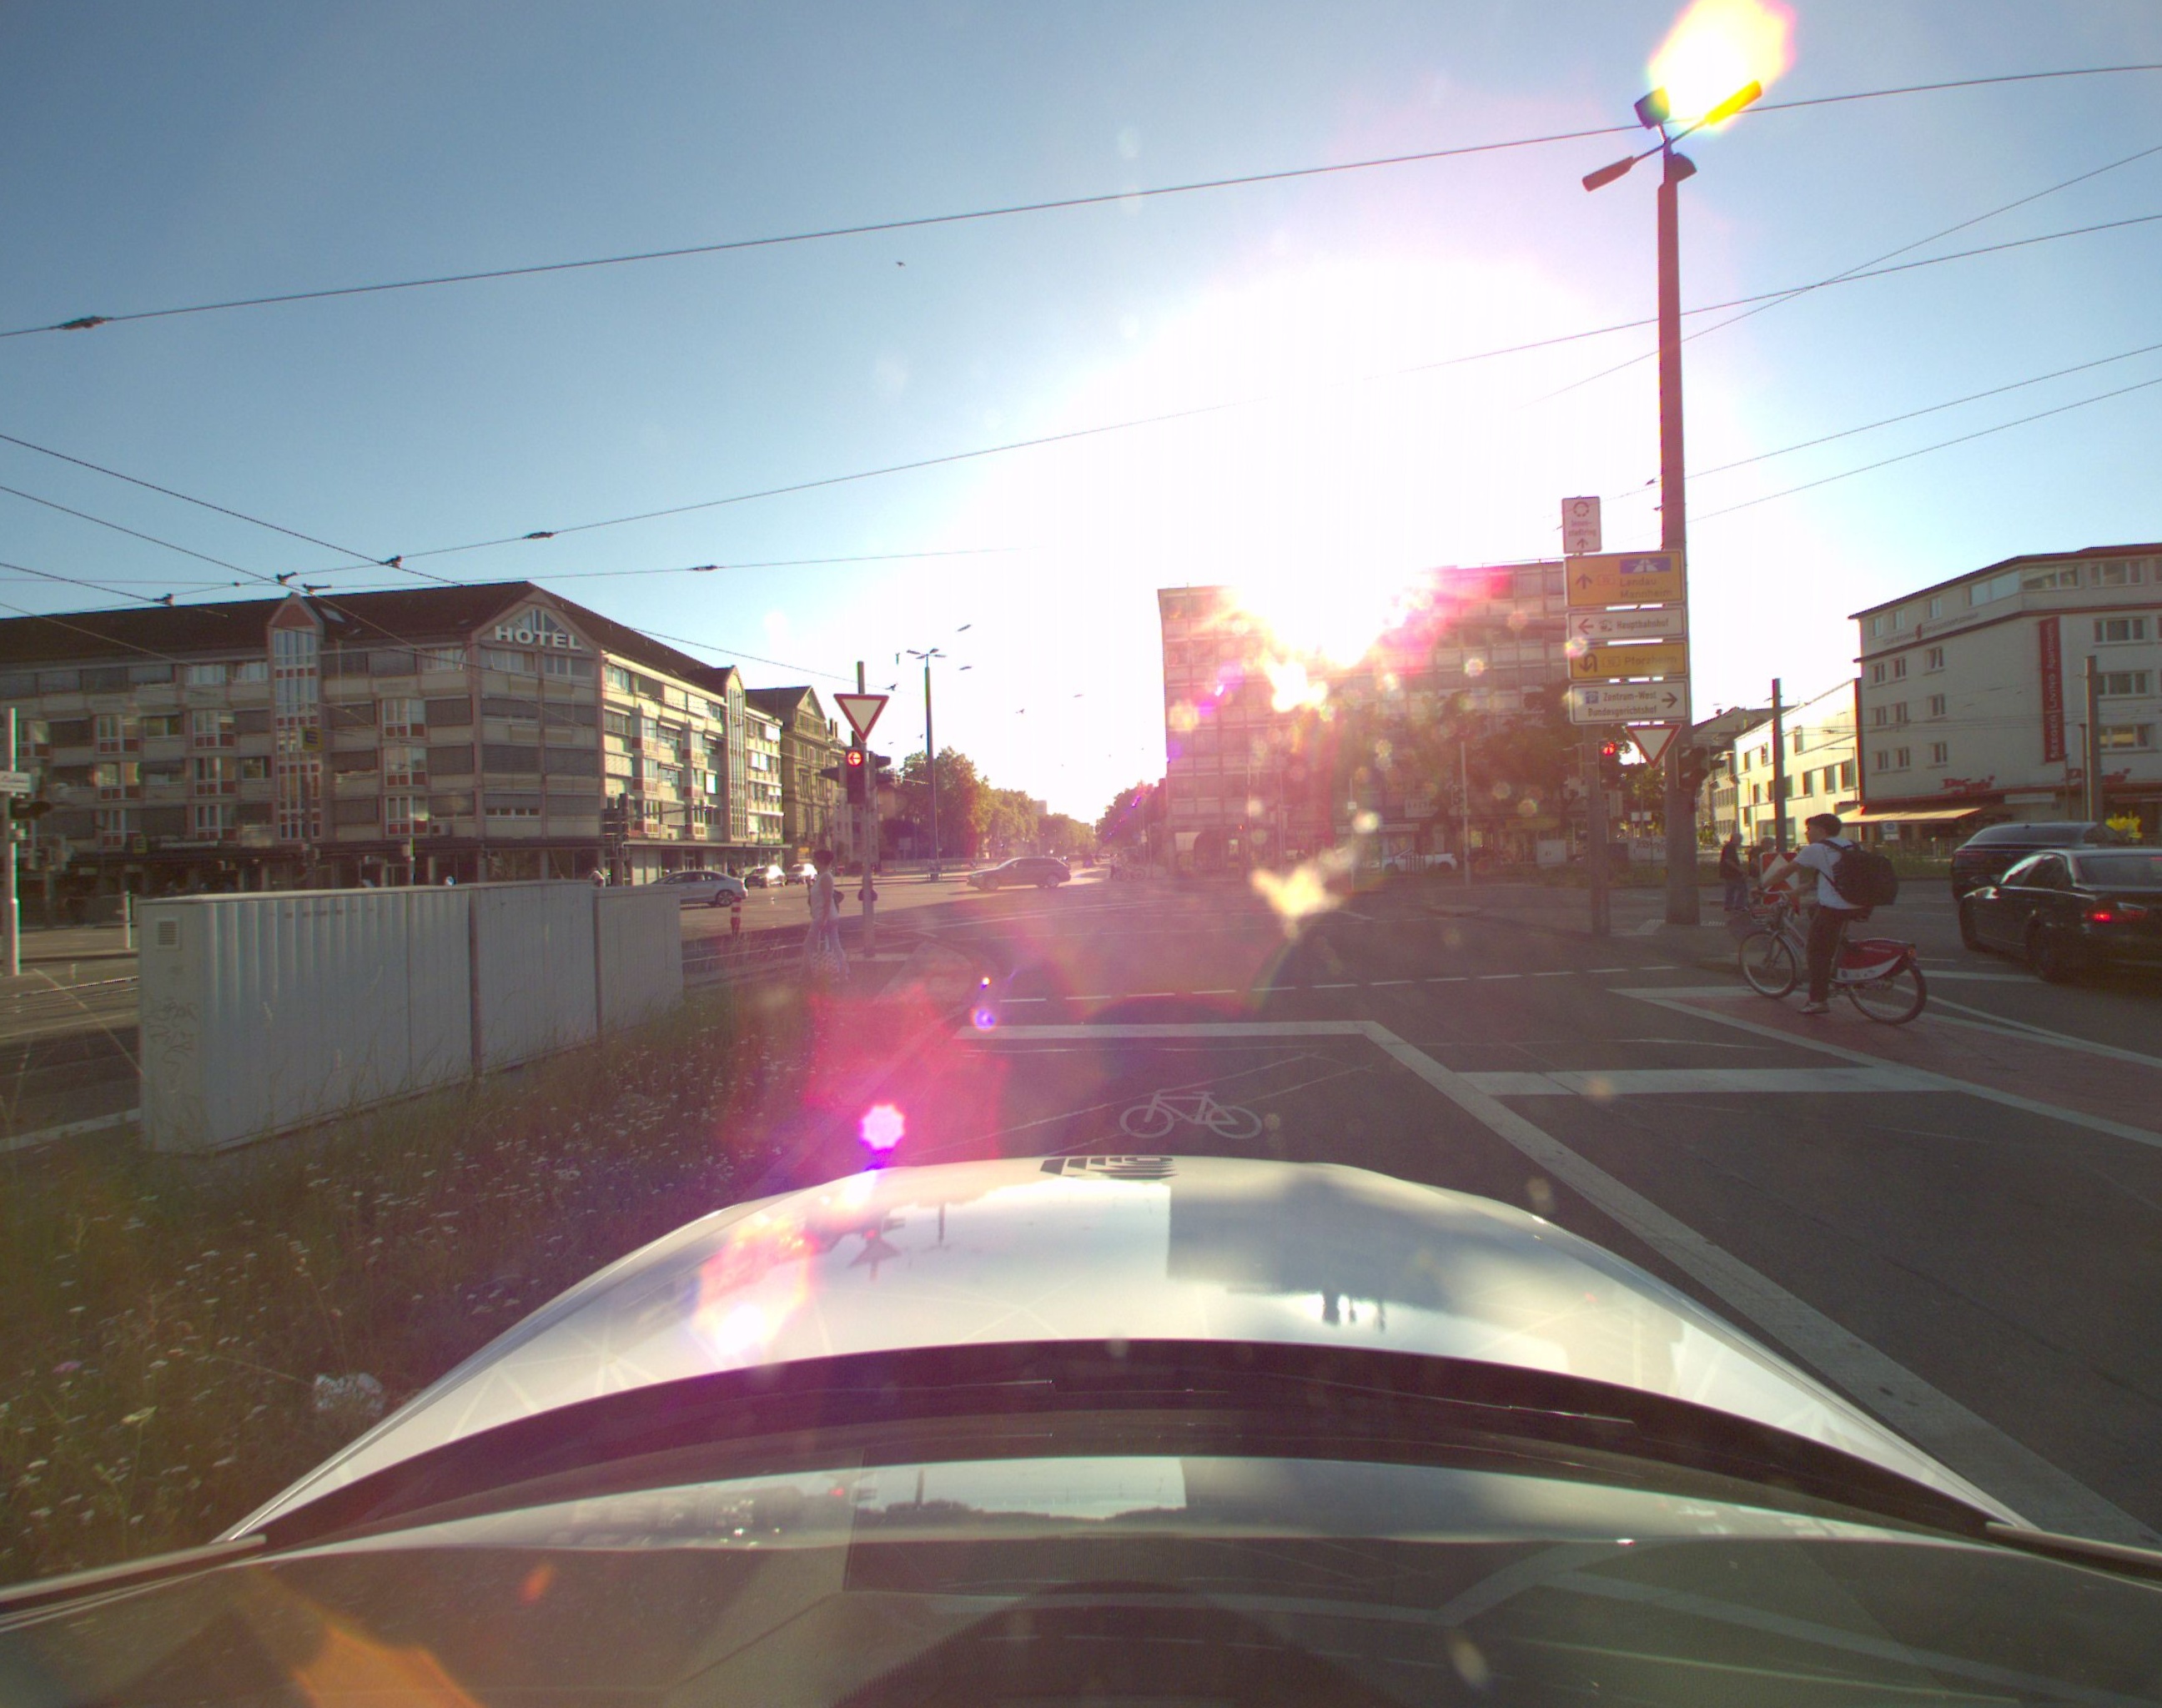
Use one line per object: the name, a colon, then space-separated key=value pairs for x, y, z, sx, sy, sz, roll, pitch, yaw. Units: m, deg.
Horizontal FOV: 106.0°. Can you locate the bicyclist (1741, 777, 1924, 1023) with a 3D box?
bicyclist: x=6.576 y=0.362 z=7.192 sx=0.641 sy=2.013 sz=1.068 roll=0 pitch=1 yaw=3

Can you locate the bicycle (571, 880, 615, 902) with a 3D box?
bicycle: x=-28.186 y=2.110 z=47.034 sx=2.089 sy=1.137 sz=0.658 roll=-2 pitch=0 yaw=-3

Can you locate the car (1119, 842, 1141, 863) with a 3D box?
car: x=6.292 y=-0.185 z=104.955 sx=2.477 sy=2.392 sz=5.936 roll=-4 pitch=-1 yaw=2

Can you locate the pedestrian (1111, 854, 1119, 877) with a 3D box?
pedestrian: x=2.223 y=0.759 z=53.122 sx=0.365 sy=1.508 sz=0.542 roll=-2 pitch=0 yaw=-5

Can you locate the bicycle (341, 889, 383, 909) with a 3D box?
bicycle: x=-41.423 y=2.595 z=46.926 sx=1.731 sy=1.059 sz=0.538 roll=-2 pitch=0 yaw=-8

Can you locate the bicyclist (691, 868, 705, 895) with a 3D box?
bicyclist: x=-27.603 y=1.977 z=58.638 sx=0.590 sy=1.862 sz=0.642 roll=-2 pitch=0 yaw=3

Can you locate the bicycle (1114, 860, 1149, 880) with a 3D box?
bicycle: x=2.945 y=0.942 z=47.843 sx=1.967 sy=1.098 sz=0.677 roll=-2 pitch=0 yaw=-2

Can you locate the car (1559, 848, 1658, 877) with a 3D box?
car: x=28.250 y=0.436 z=43.732 sx=3.968 sy=1.420 sz=2.003 roll=-2 pitch=0 yaw=5

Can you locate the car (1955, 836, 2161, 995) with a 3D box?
car: x=11.289 y=0.540 z=8.878 sx=1.727 sy=1.426 sz=4.026 roll=-2 pitch=0 yaw=38

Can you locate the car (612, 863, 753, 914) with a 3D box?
car: x=-14.697 y=1.231 z=30.114 sx=4.366 sy=1.596 sz=1.978 roll=-2 pitch=0 yaw=-36

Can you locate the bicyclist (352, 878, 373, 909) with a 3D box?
bicyclist: x=-41.394 y=2.260 z=46.935 sx=0.663 sy=1.712 sz=0.537 roll=-2 pitch=0 yaw=-8

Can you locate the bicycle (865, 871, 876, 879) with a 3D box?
bicycle: x=-25.385 y=2.522 z=98.252 sx=0.596 sy=0.915 sz=1.838 roll=-2 pitch=0 yaw=4

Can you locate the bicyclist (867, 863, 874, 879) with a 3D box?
bicyclist: x=-25.389 y=2.046 z=98.410 sx=0.590 sy=1.862 sz=0.642 roll=-2 pitch=0 yaw=3

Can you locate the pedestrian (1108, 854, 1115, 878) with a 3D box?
pedestrian: x=1.943 y=0.774 z=52.009 sx=0.365 sy=1.508 sz=0.542 roll=-2 pitch=0 yaw=-5

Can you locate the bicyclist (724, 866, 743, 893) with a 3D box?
bicyclist: x=-22.701 y=1.666 z=53.186 sx=0.896 sy=1.753 sz=0.650 roll=-2 pitch=0 yaw=-2

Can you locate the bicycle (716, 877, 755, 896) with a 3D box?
bicycle: x=-22.546 y=2.104 z=53.197 sx=2.168 sy=1.137 sz=0.658 roll=-2 pitch=0 yaw=-3

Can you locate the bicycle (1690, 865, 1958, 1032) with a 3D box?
bicycle: x=6.580 y=0.755 z=7.401 sx=0.642 sy=1.223 sz=2.050 roll=0 pitch=2 yaw=3

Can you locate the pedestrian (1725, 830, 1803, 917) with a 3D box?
pedestrian: x=13.003 y=0.360 z=15.527 sx=0.875 sy=1.597 sz=0.655 roll=-2 pitch=0 yaw=0

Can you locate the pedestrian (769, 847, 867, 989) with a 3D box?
pedestrian: x=-3.109 y=0.736 z=9.673 sx=0.875 sy=1.597 sz=0.655 roll=-2 pitch=0 yaw=1

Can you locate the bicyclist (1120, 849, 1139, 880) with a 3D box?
bicyclist: x=2.832 y=0.623 z=47.838 sx=1.037 sy=1.739 sz=0.677 roll=-2 pitch=0 yaw=-2

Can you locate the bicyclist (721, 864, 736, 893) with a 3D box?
bicyclist: x=-24.577 y=1.711 z=56.789 sx=0.783 sy=2.013 sz=0.598 roll=-2 pitch=0 yaw=-37

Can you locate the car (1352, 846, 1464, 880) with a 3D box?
car: x=16.323 y=0.439 z=40.882 sx=4.893 sy=1.479 sz=2.004 roll=-2 pitch=0 yaw=7

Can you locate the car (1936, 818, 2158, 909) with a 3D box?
car: x=20.168 y=0.130 z=17.005 sx=4.006 sy=1.693 sz=1.984 roll=-1 pitch=1 yaw=-24

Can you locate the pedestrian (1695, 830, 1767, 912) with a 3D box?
pedestrian: x=13.100 y=0.338 z=16.421 sx=0.875 sy=1.597 sz=0.655 roll=-2 pitch=0 yaw=0

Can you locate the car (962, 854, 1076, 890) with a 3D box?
car: x=-2.917 y=0.827 z=38.261 sx=4.940 sy=1.479 sz=1.985 roll=-2 pitch=0 yaw=-23

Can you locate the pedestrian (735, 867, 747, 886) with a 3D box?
pedestrian: x=-29.442 y=1.901 z=70.488 sx=0.623 sy=1.605 sz=0.705 roll=-2 pitch=0 yaw=3

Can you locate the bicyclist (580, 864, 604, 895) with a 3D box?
bicyclist: x=-28.244 y=1.480 z=47.032 sx=0.896 sy=1.753 sz=0.654 roll=-2 pitch=0 yaw=-2

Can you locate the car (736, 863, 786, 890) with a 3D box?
car: x=-24.621 y=1.729 z=62.840 sx=1.984 sy=1.860 sz=4.005 roll=-2 pitch=0 yaw=4

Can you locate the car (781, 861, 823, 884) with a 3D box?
car: x=-24.284 y=1.566 z=70.972 sx=1.984 sy=1.860 sz=4.005 roll=-2 pitch=0 yaw=4
